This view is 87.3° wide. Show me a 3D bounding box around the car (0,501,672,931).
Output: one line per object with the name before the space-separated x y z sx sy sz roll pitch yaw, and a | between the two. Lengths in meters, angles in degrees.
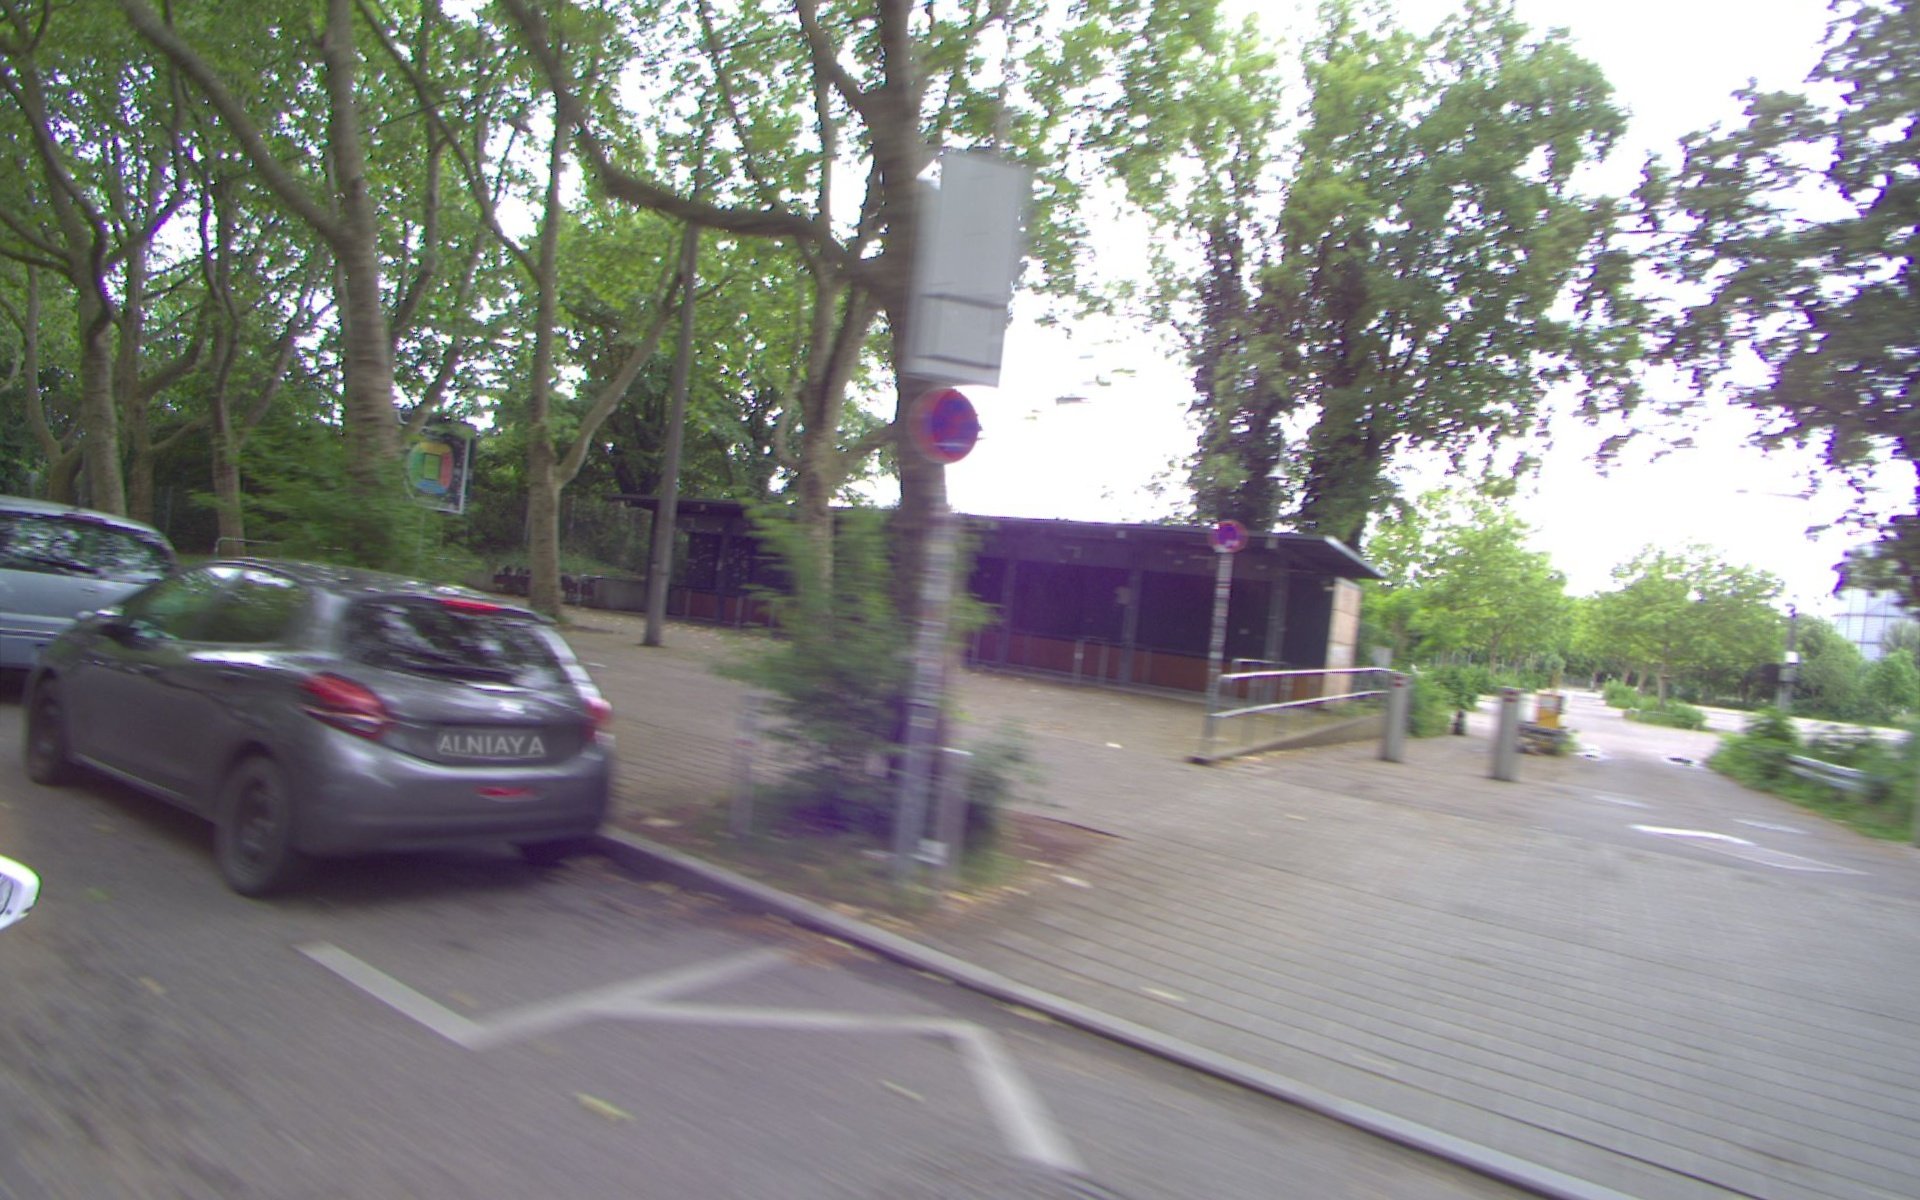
car | -3.960 0.462 5.924 4.380 1.535 1.704 7 -4 32

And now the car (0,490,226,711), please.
car | -8.652 -0.133 9.002 4.025 1.583 1.725 6 -4 30
